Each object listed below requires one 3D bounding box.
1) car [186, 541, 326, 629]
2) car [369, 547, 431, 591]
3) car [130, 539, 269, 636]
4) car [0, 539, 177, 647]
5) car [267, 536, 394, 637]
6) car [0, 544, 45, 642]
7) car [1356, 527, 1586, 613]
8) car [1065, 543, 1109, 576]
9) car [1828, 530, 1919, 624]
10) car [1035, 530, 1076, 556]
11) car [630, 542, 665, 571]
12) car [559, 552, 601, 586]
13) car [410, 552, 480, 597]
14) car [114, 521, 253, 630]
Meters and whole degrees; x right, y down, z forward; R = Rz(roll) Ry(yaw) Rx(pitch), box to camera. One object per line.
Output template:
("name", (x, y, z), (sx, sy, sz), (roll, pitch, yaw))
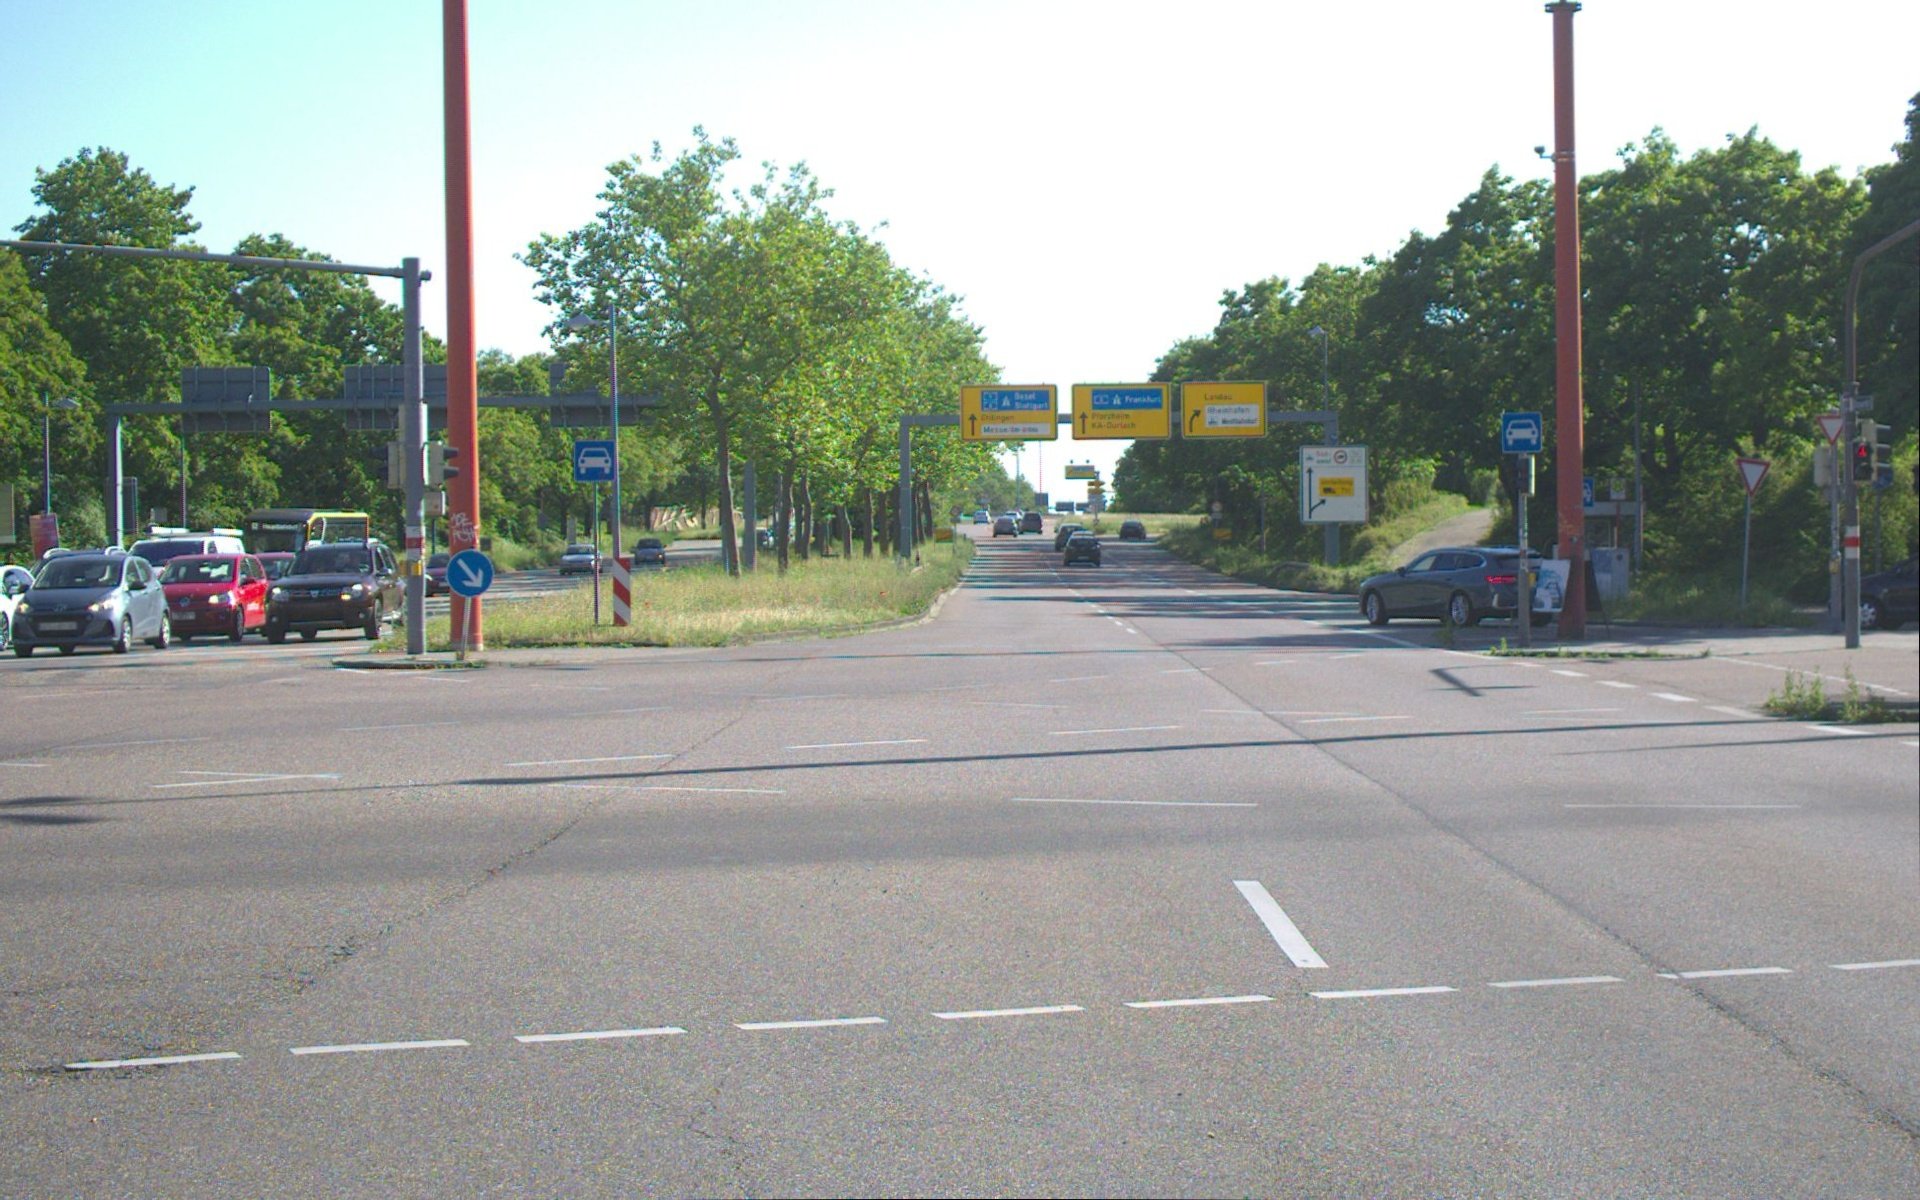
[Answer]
("car", (-13.110, -0.298, 64.255), (1.993, 1.568, 4.121), (-1, 1, -4))
("car", (-20.350, -1.132, 124.988), (1.876, 1.568, 4.121), (-1, 1, -5))
("car", (-12.893, -0.238, 58.476), (1.993, 1.568, 4.122), (-1, 1, -8))
("car", (-13.247, -0.134, 52.175), (1.993, 1.568, 4.121), (-1, 1, -3))
("car", (-10.241, -0.247, 56.156), (1.876, 1.568, 4.122), (-1, 1, -8))
("car", (-16.483, -0.120, 57.044), (1.993, 1.568, 4.122), (-2, 1, -8))
("car", (9.675, -0.587, 65.447), (2.158, 1.568, 4.584), (-1, 1, -25))
("car", (6.305, -2.019, 171.075), (2.159, 1.568, 4.281), (-1, 1, 1))
("car", (16.976, -0.406, 57.708), (4.273, 1.568, 2.163), (0, 1, 27))
("car", (5.952, -3.559, 214.574), (2.158, 1.568, 4.281), (-1, 1, -4))
("car", (-17.382, -2.445, 191.349), (1.876, 1.568, 4.121), (-1, 1, -5))
("car", (-18.202, -1.483, 164.900), (1.876, 1.568, 3.948), (-1, 1, -5))
("car", (-17.360, -0.865, 115.990), (1.821, 1.449, 3.656), (-1, 1, 0))
("car", (-16.108, -0.530, 71.516), (2.062, 2.185, 4.379), (-1, 1, -2))
